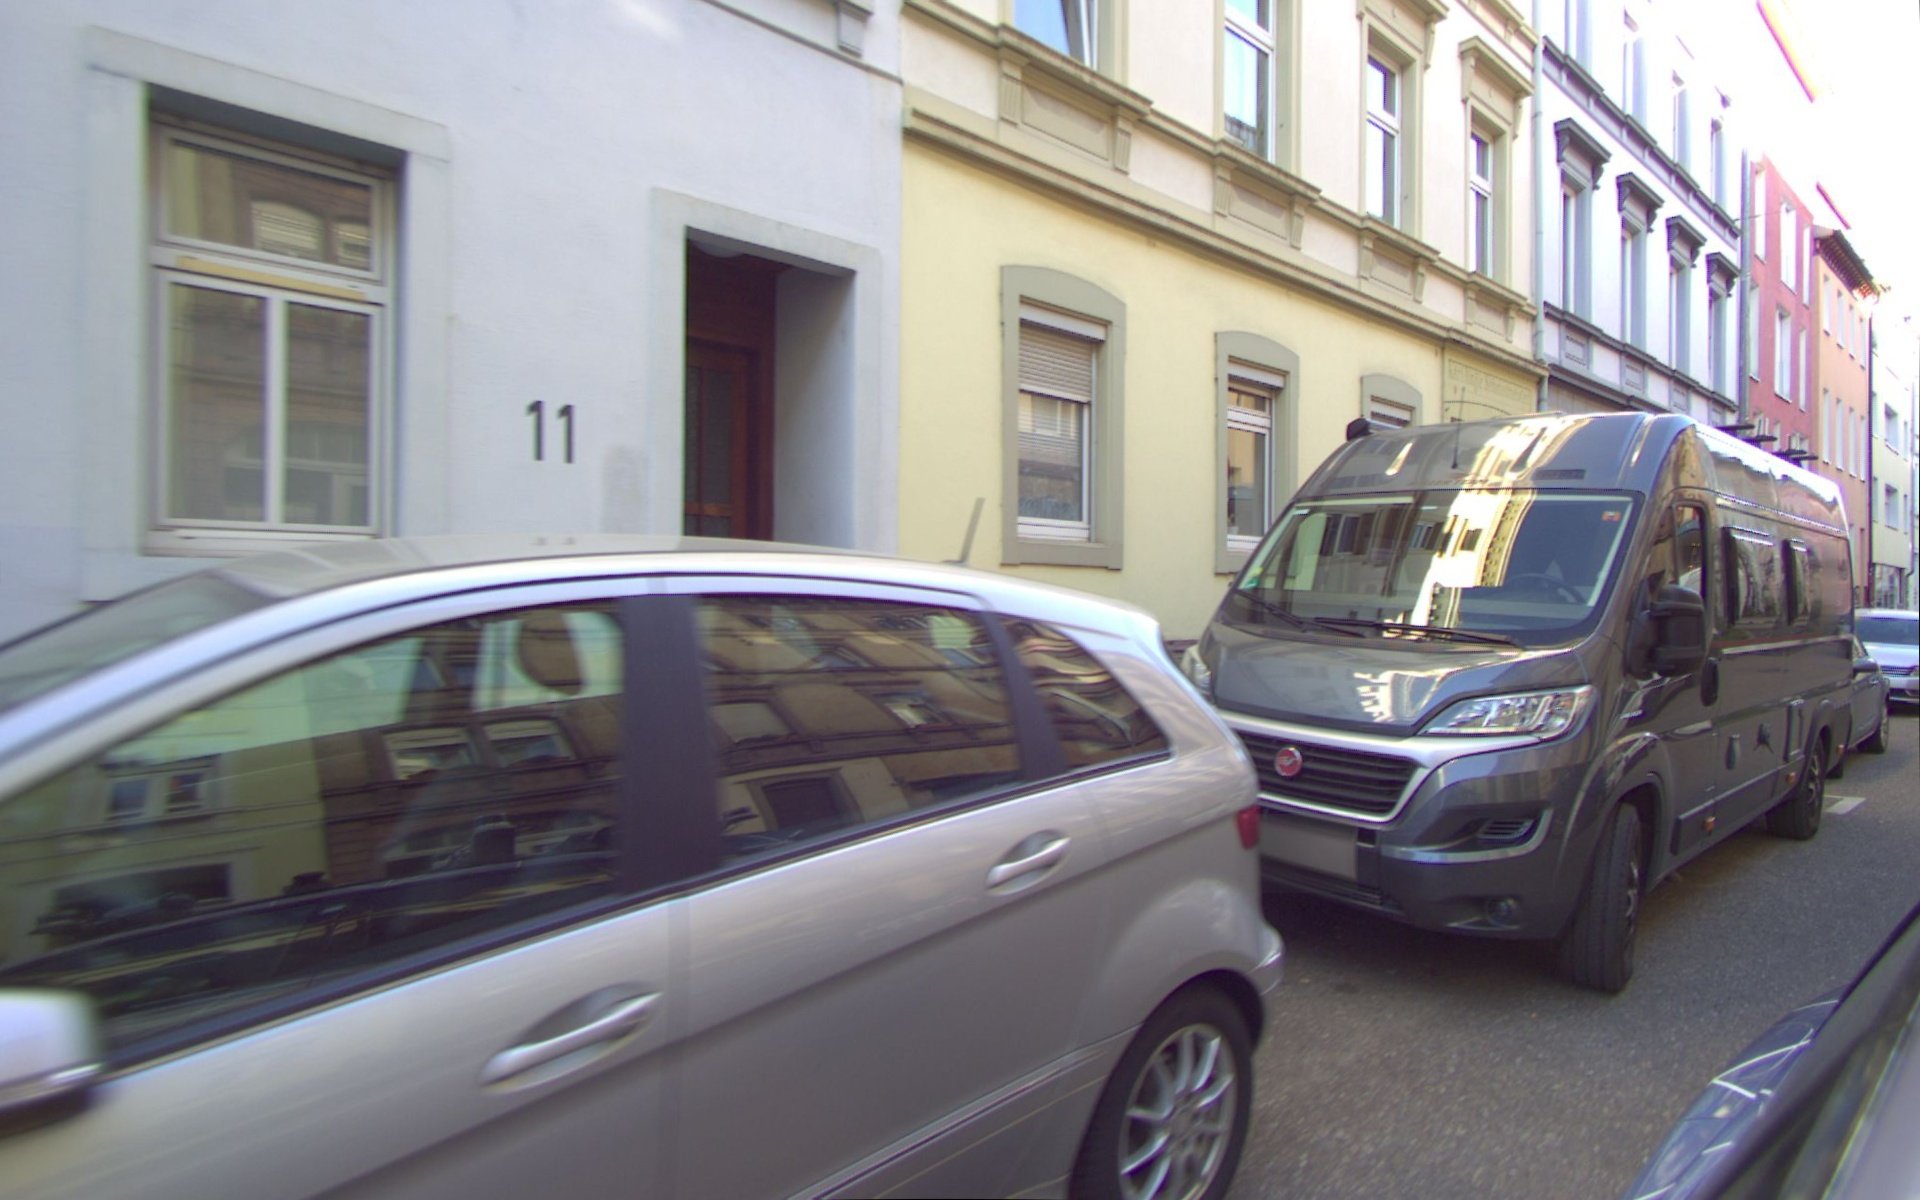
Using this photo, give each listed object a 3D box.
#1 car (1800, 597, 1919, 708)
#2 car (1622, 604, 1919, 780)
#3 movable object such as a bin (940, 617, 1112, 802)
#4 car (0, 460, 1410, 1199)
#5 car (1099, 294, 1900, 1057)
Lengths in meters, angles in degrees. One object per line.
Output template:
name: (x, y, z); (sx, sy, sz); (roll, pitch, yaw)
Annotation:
car: (14.742, 0.739, 15.791); (4.468, 1.472, 1.790); (0, 3, -41)
car: (8.579, 0.780, 10.539); (4.098, 1.463, 1.750); (0, 0, -41)
movable object such as a bin: (0.433, 0.679, 6.735); (0.696, 1.055, 0.864); (1, 3, -42)
car: (-0.961, 0.649, 2.011); (4.298, 1.628, 1.697); (0, 2, -41)
car: (3.740, 0.212, 6.129); (6.199, 2.455, 2.179); (0, 2, -41)
